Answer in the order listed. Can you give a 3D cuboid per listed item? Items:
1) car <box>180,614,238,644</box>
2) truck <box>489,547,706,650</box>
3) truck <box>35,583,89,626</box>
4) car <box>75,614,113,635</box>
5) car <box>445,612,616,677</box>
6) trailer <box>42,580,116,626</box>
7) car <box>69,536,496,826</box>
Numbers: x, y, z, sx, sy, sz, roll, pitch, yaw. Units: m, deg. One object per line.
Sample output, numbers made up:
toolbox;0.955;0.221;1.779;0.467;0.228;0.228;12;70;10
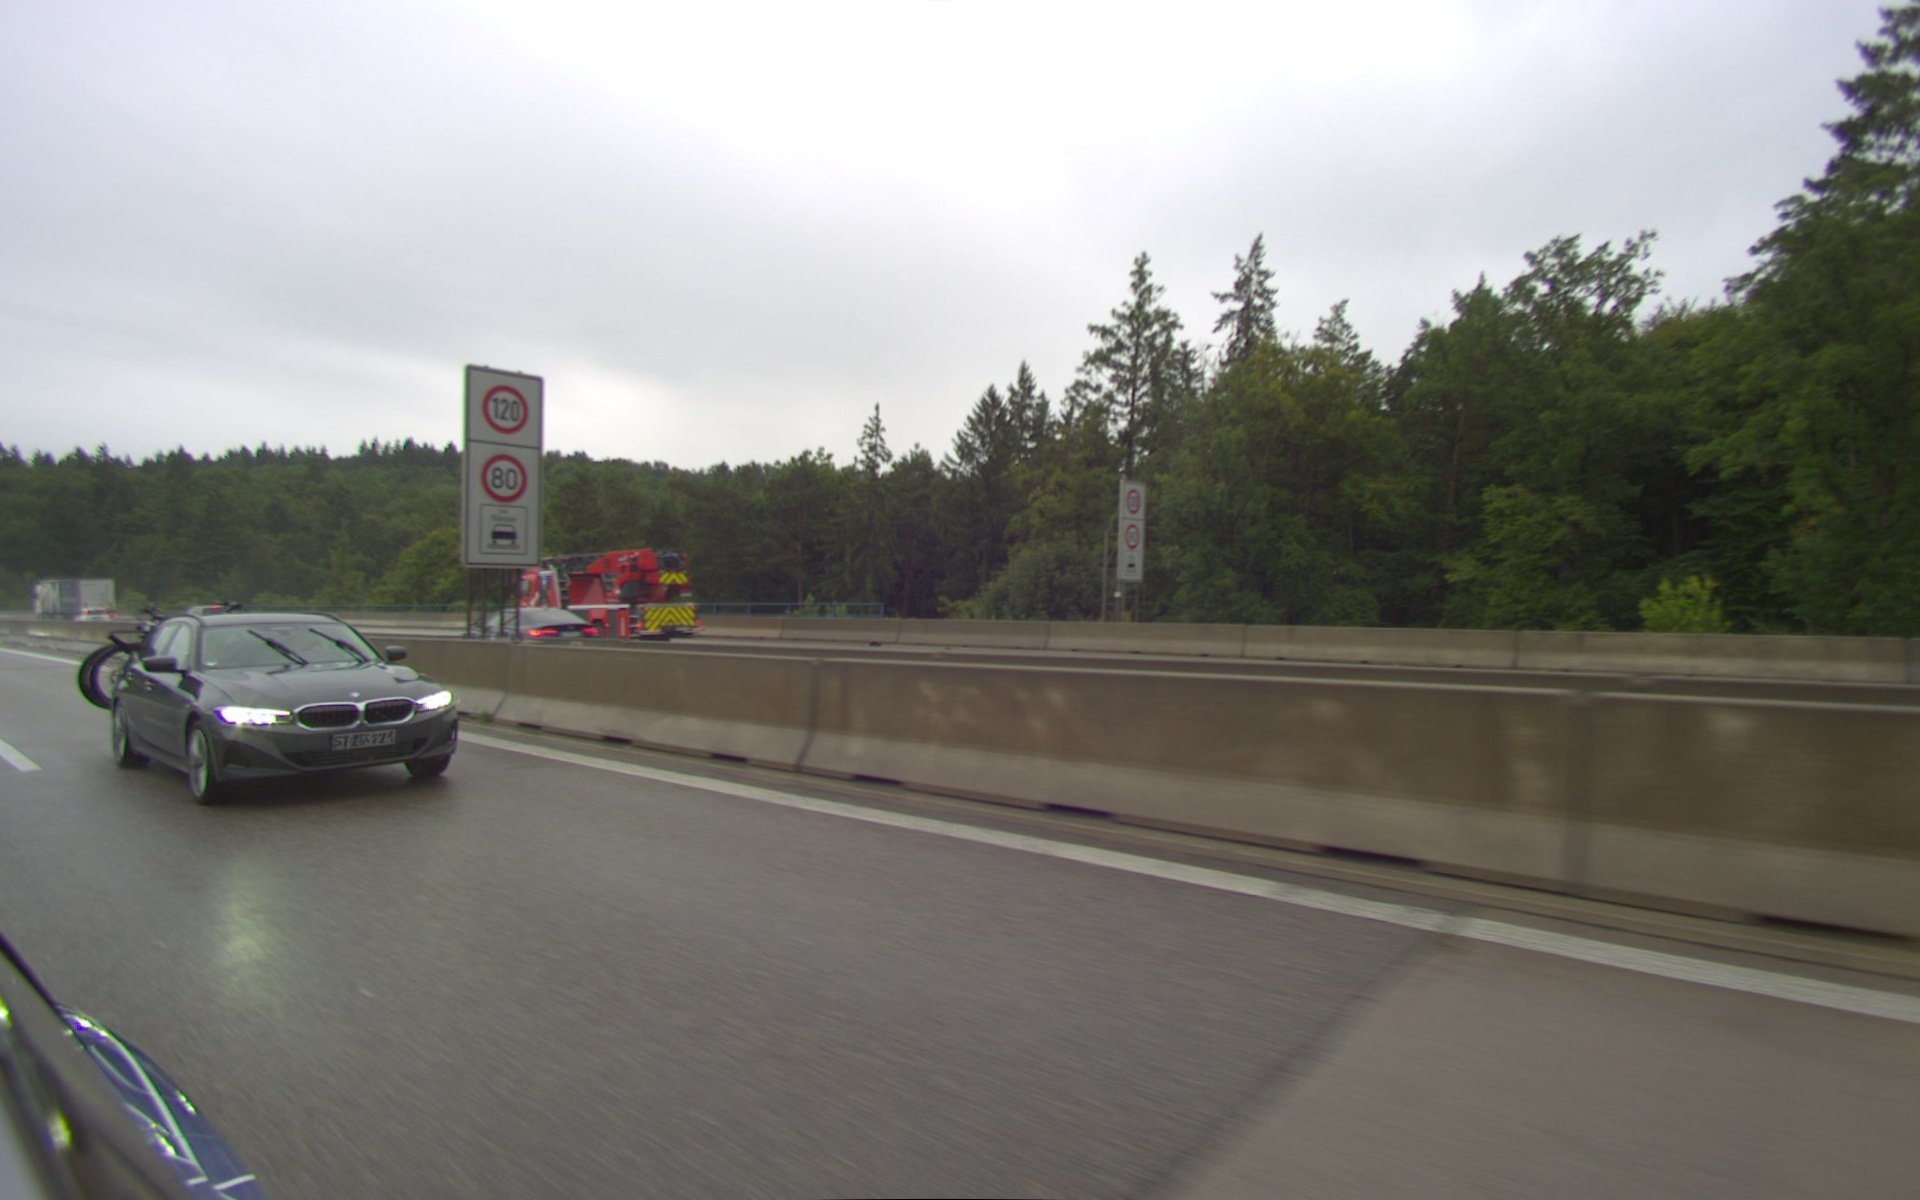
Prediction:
car;-40.996;1.561;55.225;4.265;1.590;1.687;-1;0;41
truck;-13.112;0.025;35.820;10.657;3.198;2.407;-1;-1;41
truck;-87.394;0.440;98.451;6.376;4.063;2.917;-1;0;40
car;-65.206;1.833;76.160;3.636;1.532;1.640;-1;0;41
car;-10.508;1.030;24.572;4.749;1.401;1.973;-1;0;41
trailer;-81.754;0.333;93.766;13.775;4.063;2.917;-1;0;40
car;-6.721;0.583;9.616;6.160;1.959;1.887;-1;0;42
